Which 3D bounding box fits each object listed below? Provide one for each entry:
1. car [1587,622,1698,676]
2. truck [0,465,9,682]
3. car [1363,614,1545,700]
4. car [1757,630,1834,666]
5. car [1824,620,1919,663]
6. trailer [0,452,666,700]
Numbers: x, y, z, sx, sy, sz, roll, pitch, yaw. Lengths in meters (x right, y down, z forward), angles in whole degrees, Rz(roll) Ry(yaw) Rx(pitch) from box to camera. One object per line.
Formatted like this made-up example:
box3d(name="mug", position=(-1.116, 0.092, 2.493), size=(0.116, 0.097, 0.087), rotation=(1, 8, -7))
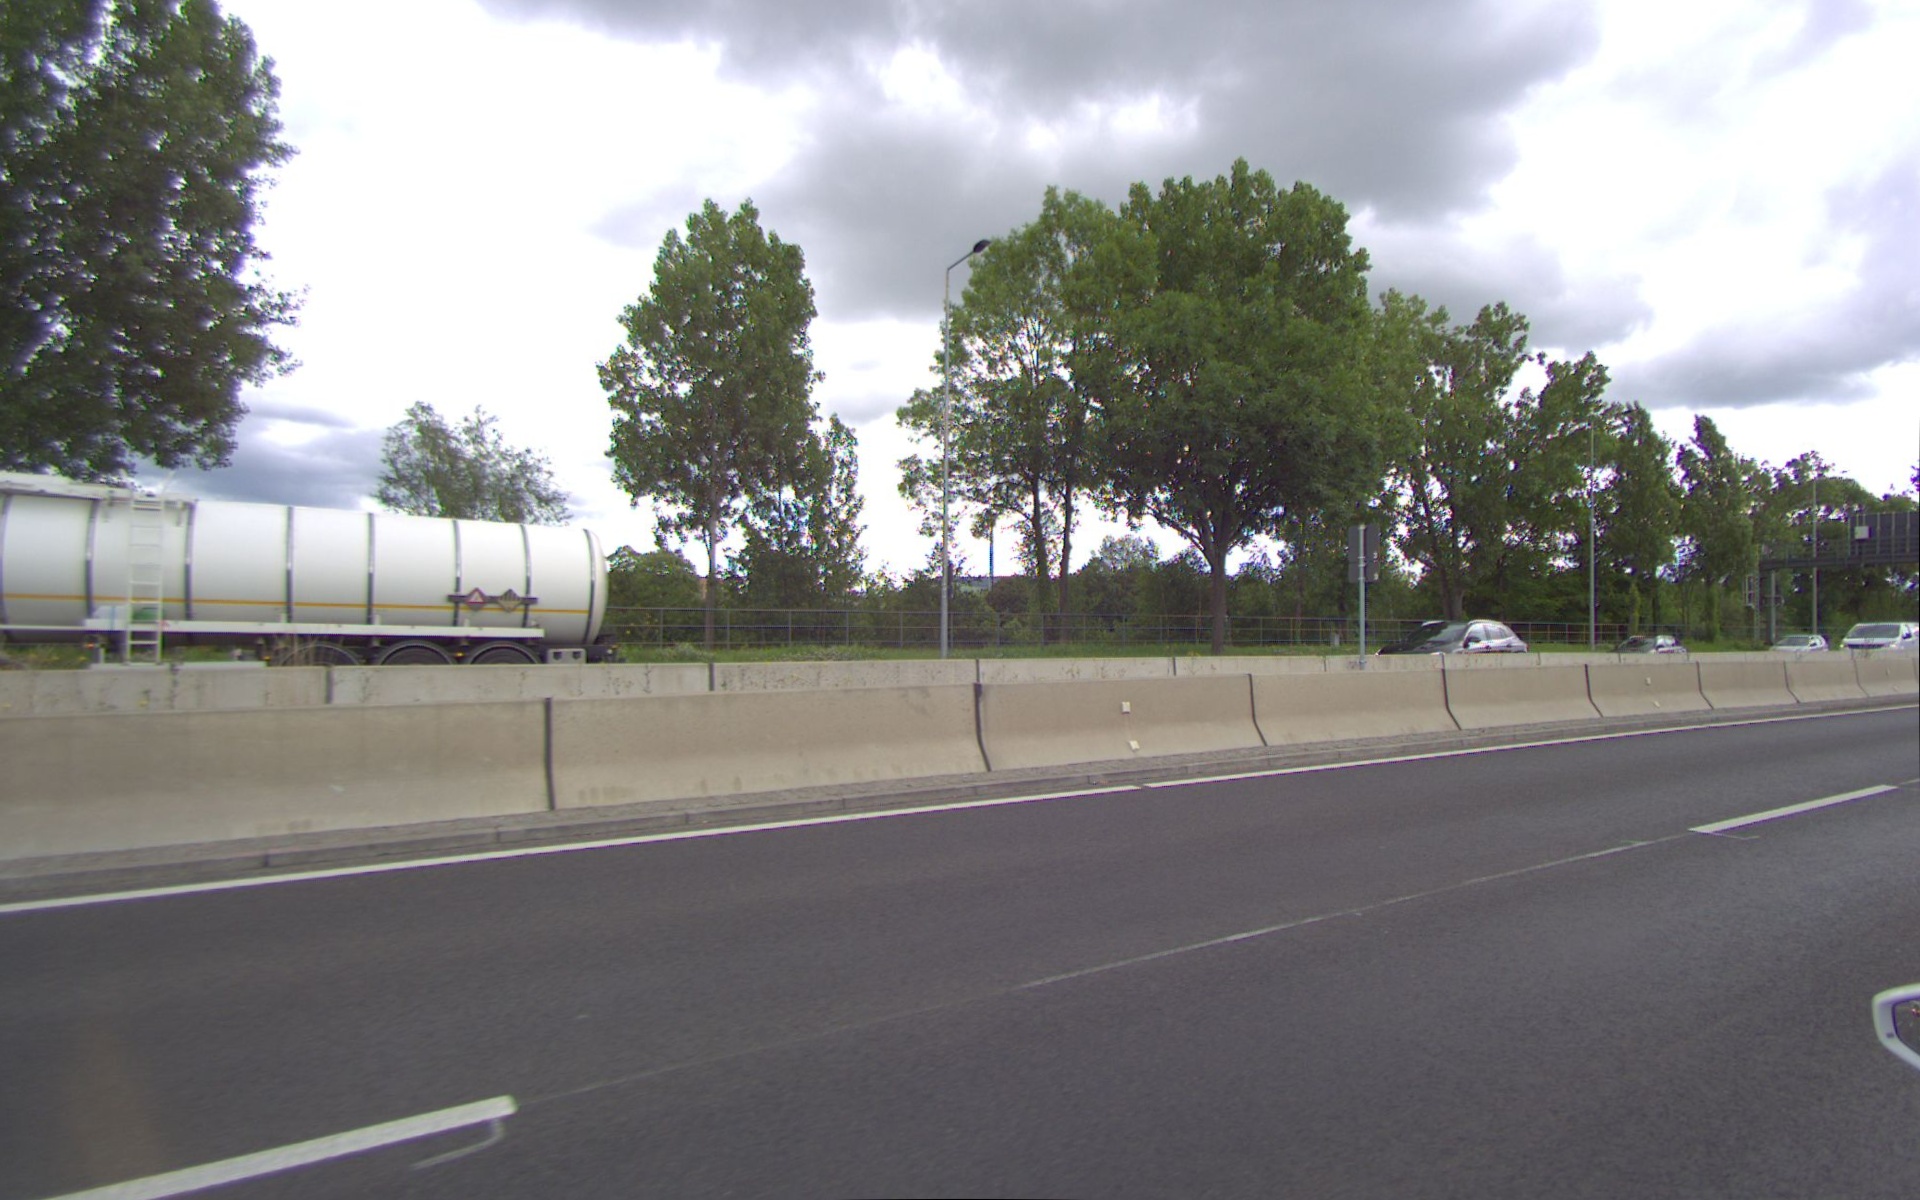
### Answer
box3d(name="car", position=(28.497, 2.008, 41.893), size=(4.609, 2.041, 1.984), rotation=(1, 1, -30))
box3d(name="truck", position=(-16.111, -0.411, 12.750), size=(5.334, 3.262, 3.080), rotation=(1, 1, -33))
box3d(name="car", position=(11.463, 1.263, 23.265), size=(3.955, 1.762, 1.983), rotation=(1, 1, -32))
box3d(name="car", position=(42.824, 2.432, 51.471), size=(4.077, 1.705, 1.867), rotation=(1, 1, -32))
box3d(name="car", position=(37.484, 1.649, 40.910), size=(4.828, 1.580, 1.984), rotation=(1, 1, -30))
box3d(name="trailer", position=(-10.953, -0.298, 16.170), size=(11.545, 3.263, 3.081), rotation=(1, 1, -34))
